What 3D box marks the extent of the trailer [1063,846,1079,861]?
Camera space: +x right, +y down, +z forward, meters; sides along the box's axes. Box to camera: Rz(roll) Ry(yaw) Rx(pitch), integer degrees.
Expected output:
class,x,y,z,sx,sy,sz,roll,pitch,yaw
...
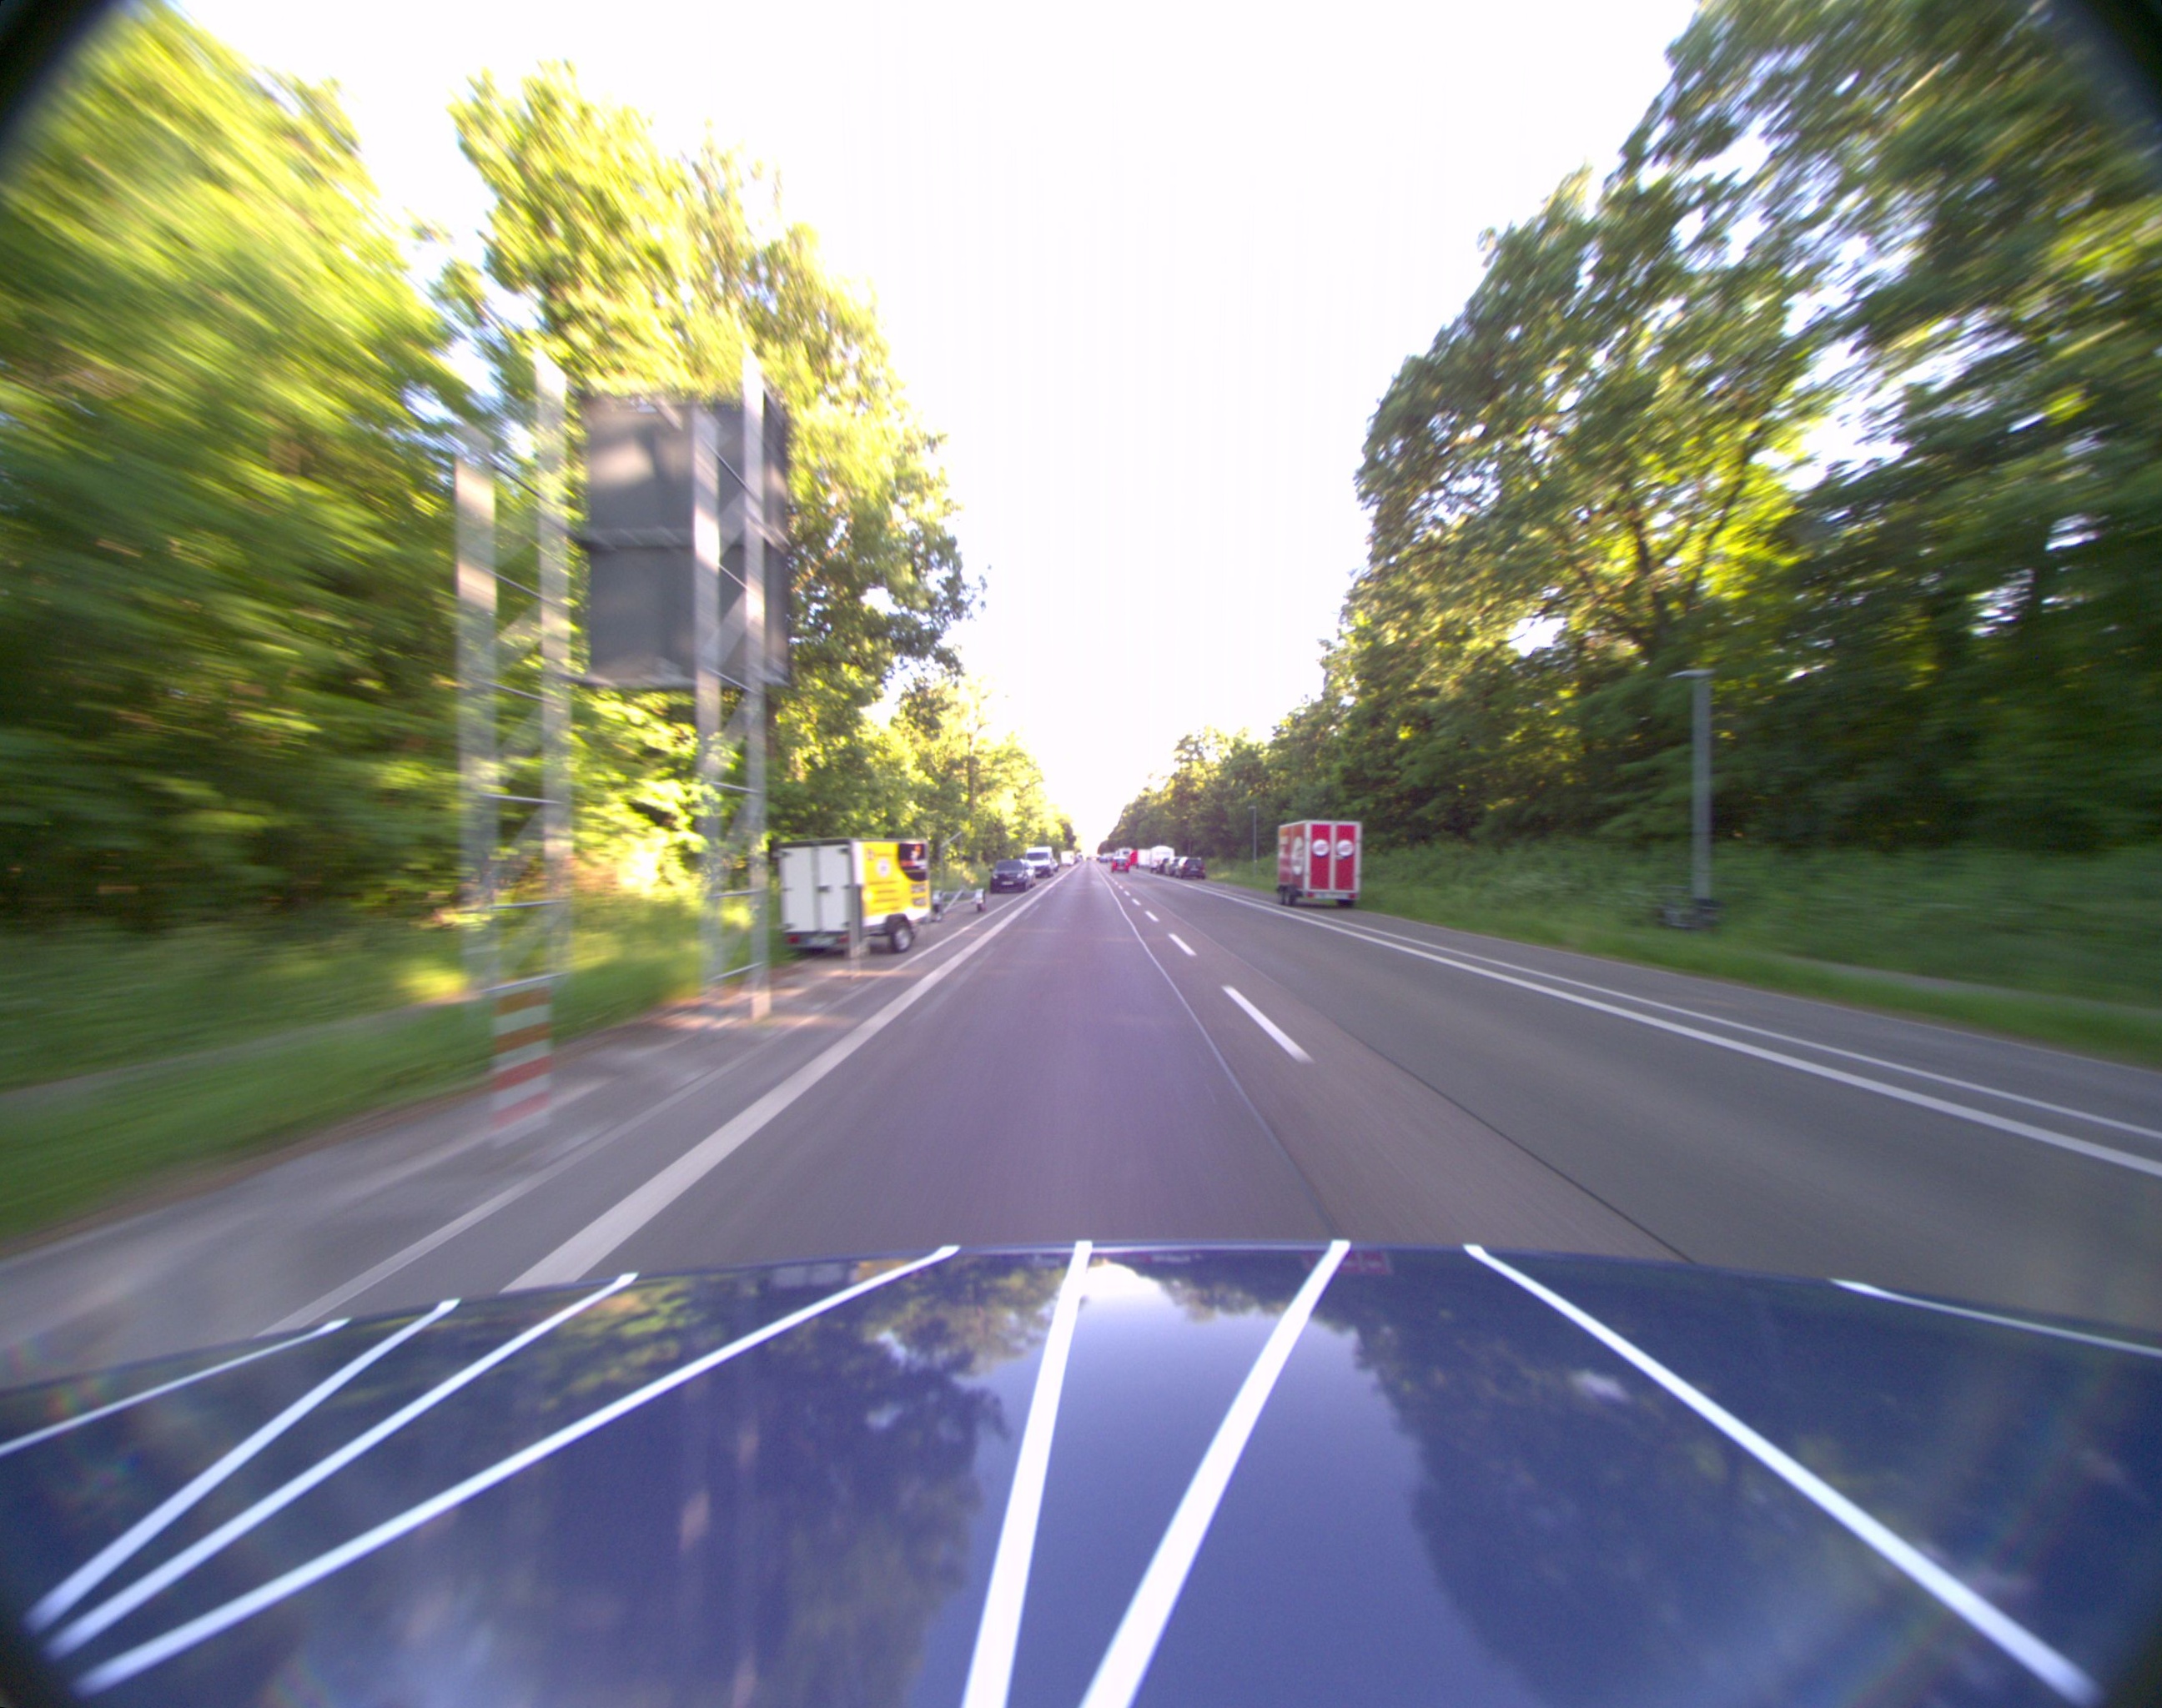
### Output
class,x,y,z,sx,sy,sz,roll,pitch,yaw
trailer,-1.958,-0.167,152.720,2.928,2.825,9.881,-4,1,0

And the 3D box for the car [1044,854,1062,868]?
class,x,y,z,sx,sy,sz,roll,pitch,yaw
car,-3.148,0.756,84.483,1.839,1.412,4.596,-4,0,-2

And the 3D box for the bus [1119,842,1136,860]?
class,x,y,z,sx,sy,sz,roll,pitch,yaw
bus,9.459,-0.680,156.706,2.835,3.411,11.199,-2,1,1

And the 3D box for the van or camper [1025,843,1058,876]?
class,x,y,z,sx,sy,sz,roll,pitch,yaw
van or camper,-3.101,0.378,61.111,2.131,2.468,6.305,-1,0,2

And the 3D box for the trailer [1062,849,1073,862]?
class,x,y,z,sx,sy,sz,roll,pitch,yaw
trailer,-2.255,0.257,130.214,1.759,2.149,3.539,-1,0,0

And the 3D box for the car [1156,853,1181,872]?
class,x,y,z,sx,sy,sz,roll,pitch,yaw
car,7.563,0.742,65.897,1.675,1.486,4.194,2,1,1

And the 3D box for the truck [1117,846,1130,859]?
class,x,y,z,sx,sy,sz,roll,pitch,yaw
truck,9.349,-0.359,167.979,2.489,2.807,8.424,-2,0,1

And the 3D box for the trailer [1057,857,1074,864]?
class,x,y,z,sx,sy,sz,roll,pitch,yaw
trailer,-2.352,0.967,115.959,2.439,0.794,5.659,-2,1,1

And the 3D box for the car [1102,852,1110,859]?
class,x,y,z,sx,sy,sz,roll,pitch,yaw
car,5.796,0.332,175.292,1.824,1.524,4.530,0,1,1

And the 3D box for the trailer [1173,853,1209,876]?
class,x,y,z,sx,sy,sz,roll,pitch,yaw
trailer,7.622,0.697,52.889,1.845,1.457,4.466,-1,0,1

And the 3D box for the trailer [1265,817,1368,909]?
class,x,y,z,sx,sy,sz,roll,pitch,yaw
trailer,7.253,0.247,23.866,1.998,2.606,4.085,-1,0,1

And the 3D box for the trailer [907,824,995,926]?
class,x,y,z,sx,sy,sz,roll,pitch,yaw
trailer,-3.468,0.508,20.991,1.617,2.494,3.999,-2,1,1

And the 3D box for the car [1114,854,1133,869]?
class,x,y,z,sx,sy,sz,roll,pitch,yaw
car,4.055,0.719,72.399,1.608,1.412,3.518,0,0,1

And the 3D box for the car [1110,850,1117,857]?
class,x,y,z,sx,sy,sz,roll,pitch,yaw
car,9.704,-0.155,227.192,1.998,1.797,4.144,-2,0,1

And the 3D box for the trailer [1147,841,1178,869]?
class,x,y,z,sx,sy,sz,roll,pitch,yaw
trailer,7.698,0.106,72.343,2.352,2.514,4.343,-1,0,-3

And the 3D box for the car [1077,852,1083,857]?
class,x,y,z,sx,sy,sz,roll,pitch,yaw
car,-0.402,0.131,243.190,1.837,1.608,4.000,-2,0,1

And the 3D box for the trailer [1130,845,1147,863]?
class,x,y,z,sx,sy,sz,roll,pitch,yaw
trailer,8.244,-0.021,109.404,2.072,2.466,3.560,-1,0,-3

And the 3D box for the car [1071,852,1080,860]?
class,x,y,z,sx,sy,sz,roll,pitch,yaw
car,-1.223,0.400,168.581,1.804,1.681,4.601,-2,1,1

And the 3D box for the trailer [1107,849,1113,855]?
class,x,y,z,sx,sy,sz,roll,pitch,yaw
trailer,9.973,-0.681,261.207,1.998,2.227,3.999,-2,1,1

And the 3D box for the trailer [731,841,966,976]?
class,x,y,z,sx,sy,sz,roll,pitch,yaw
trailer,-3.865,0.812,13.390,1.964,2.011,3.849,-1,0,21

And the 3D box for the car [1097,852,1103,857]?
class,x,y,z,sx,sy,sz,roll,pitch,yaw
car,6.352,0.012,251.855,1.823,1.577,4.459,0,1,1

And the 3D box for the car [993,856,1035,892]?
class,x,y,z,sx,sy,sz,roll,pitch,yaw
car,-3.113,0.903,35.573,1.590,1.521,3.011,-3,0,1

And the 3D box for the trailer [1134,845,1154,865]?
class,x,y,z,sx,sy,sz,roll,pitch,yaw
trailer,7.839,0.147,94.767,2.072,2.466,3.560,-1,0,-3

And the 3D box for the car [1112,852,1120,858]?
class,x,y,z,sx,sy,sz,roll,pitch,yaw
car,9.459,0.249,204.225,1.787,1.485,4.001,0,0,5

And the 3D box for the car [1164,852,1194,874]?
class,x,y,z,sx,sy,sz,roll,pitch,yaw
car,7.657,0.675,59.731,1.675,1.565,5.126,2,1,1

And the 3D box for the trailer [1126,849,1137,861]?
class,x,y,z,sx,sy,sz,roll,pitch,yaw
trailer,8.908,0.172,134.373,1.857,2.002,3.561,2,0,1

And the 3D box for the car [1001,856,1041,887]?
class,x,y,z,sx,sy,sz,roll,pitch,yaw
car,-3.159,0.881,40.598,1.739,1.479,4.400,-3,0,0

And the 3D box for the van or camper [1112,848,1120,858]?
class,x,y,z,sx,sy,sz,roll,pitch,yaw
van or camper,9.927,-0.309,216.437,2.253,2.599,5.984,-1,0,1
